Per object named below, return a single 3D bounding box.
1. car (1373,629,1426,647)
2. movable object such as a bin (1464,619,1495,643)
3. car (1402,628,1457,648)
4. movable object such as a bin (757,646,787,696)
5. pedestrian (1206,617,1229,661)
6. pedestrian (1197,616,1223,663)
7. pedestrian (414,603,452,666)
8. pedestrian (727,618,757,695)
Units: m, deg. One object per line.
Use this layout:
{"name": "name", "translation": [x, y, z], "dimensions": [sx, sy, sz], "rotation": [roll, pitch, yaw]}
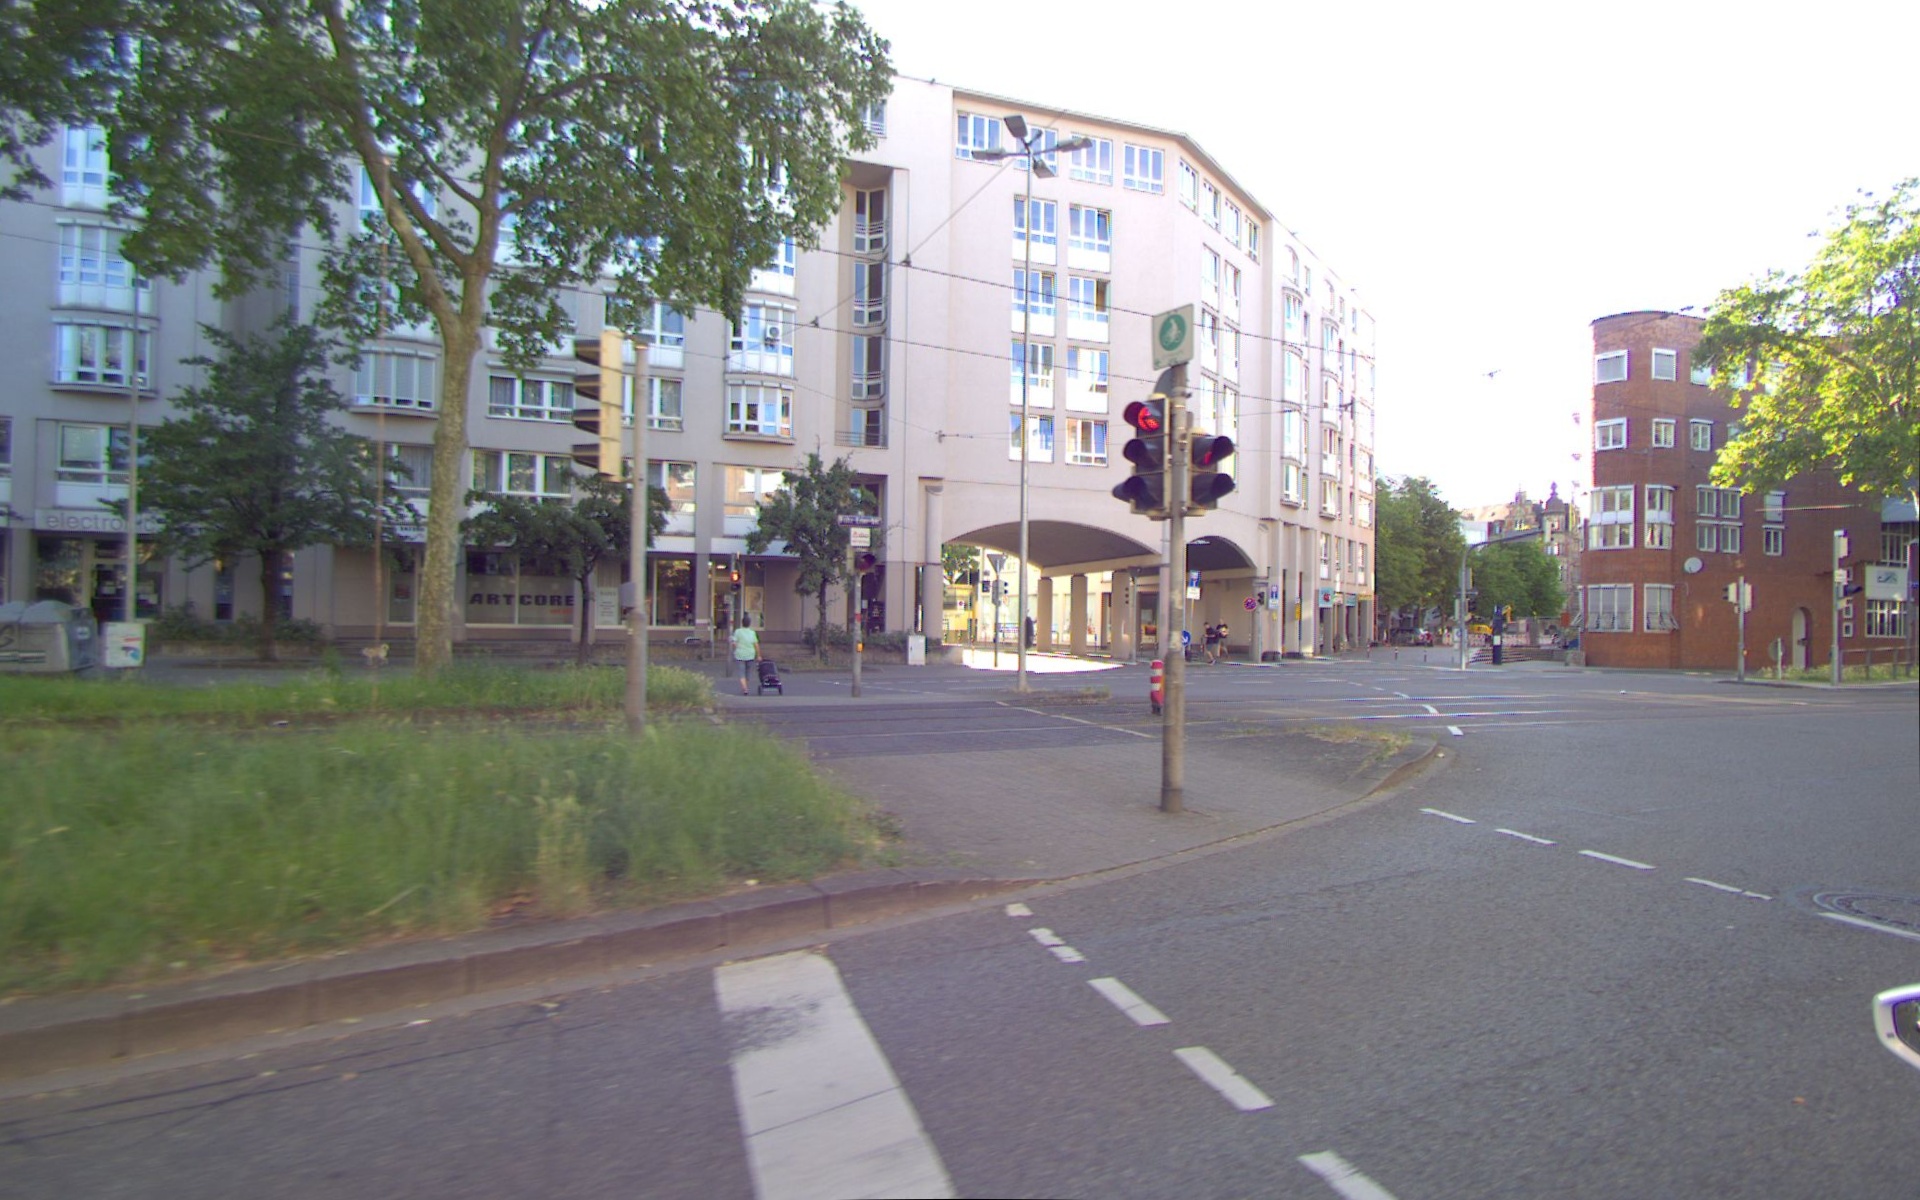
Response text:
{"name": "car", "translation": [36.124, 3.099, 82.546], "dimensions": [3.926, 1.419, 1.997], "rotation": [0, -1, 28]}
{"name": "movable object such as a bin", "translation": [50.572, 3.026, 97.747], "dimensions": [2.769, 2.341, 1.908], "rotation": [2, -2, -44]}
{"name": "car", "translation": [39.570, 3.188, 84.699], "dimensions": [3.937, 1.576, 1.992], "rotation": [2, -1, -19]}
{"name": "movable object such as a bin", "translation": [-3.729, 1.401, 19.943], "dimensions": [0.530, 0.966, 0.510], "rotation": [1, -1, -16]}
{"name": "pedestrian", "translation": [12.246, 1.833, 47.765], "dimensions": [0.822, 2.040, 0.886], "rotation": [0, -1, 30]}
{"name": "pedestrian", "translation": [10.283, 1.628, 41.295], "dimensions": [0.738, 1.894, 0.857], "rotation": [1, -1, -9]}
{"name": "pedestrian", "translation": [-14.112, 0.924, 26.917], "dimensions": [0.776, 1.660, 0.706], "rotation": [1, -1, -18]}
{"name": "pedestrian", "translation": [-4.416, 1.129, 20.336], "dimensions": [0.526, 1.523, 0.618], "rotation": [1, -1, -18]}
